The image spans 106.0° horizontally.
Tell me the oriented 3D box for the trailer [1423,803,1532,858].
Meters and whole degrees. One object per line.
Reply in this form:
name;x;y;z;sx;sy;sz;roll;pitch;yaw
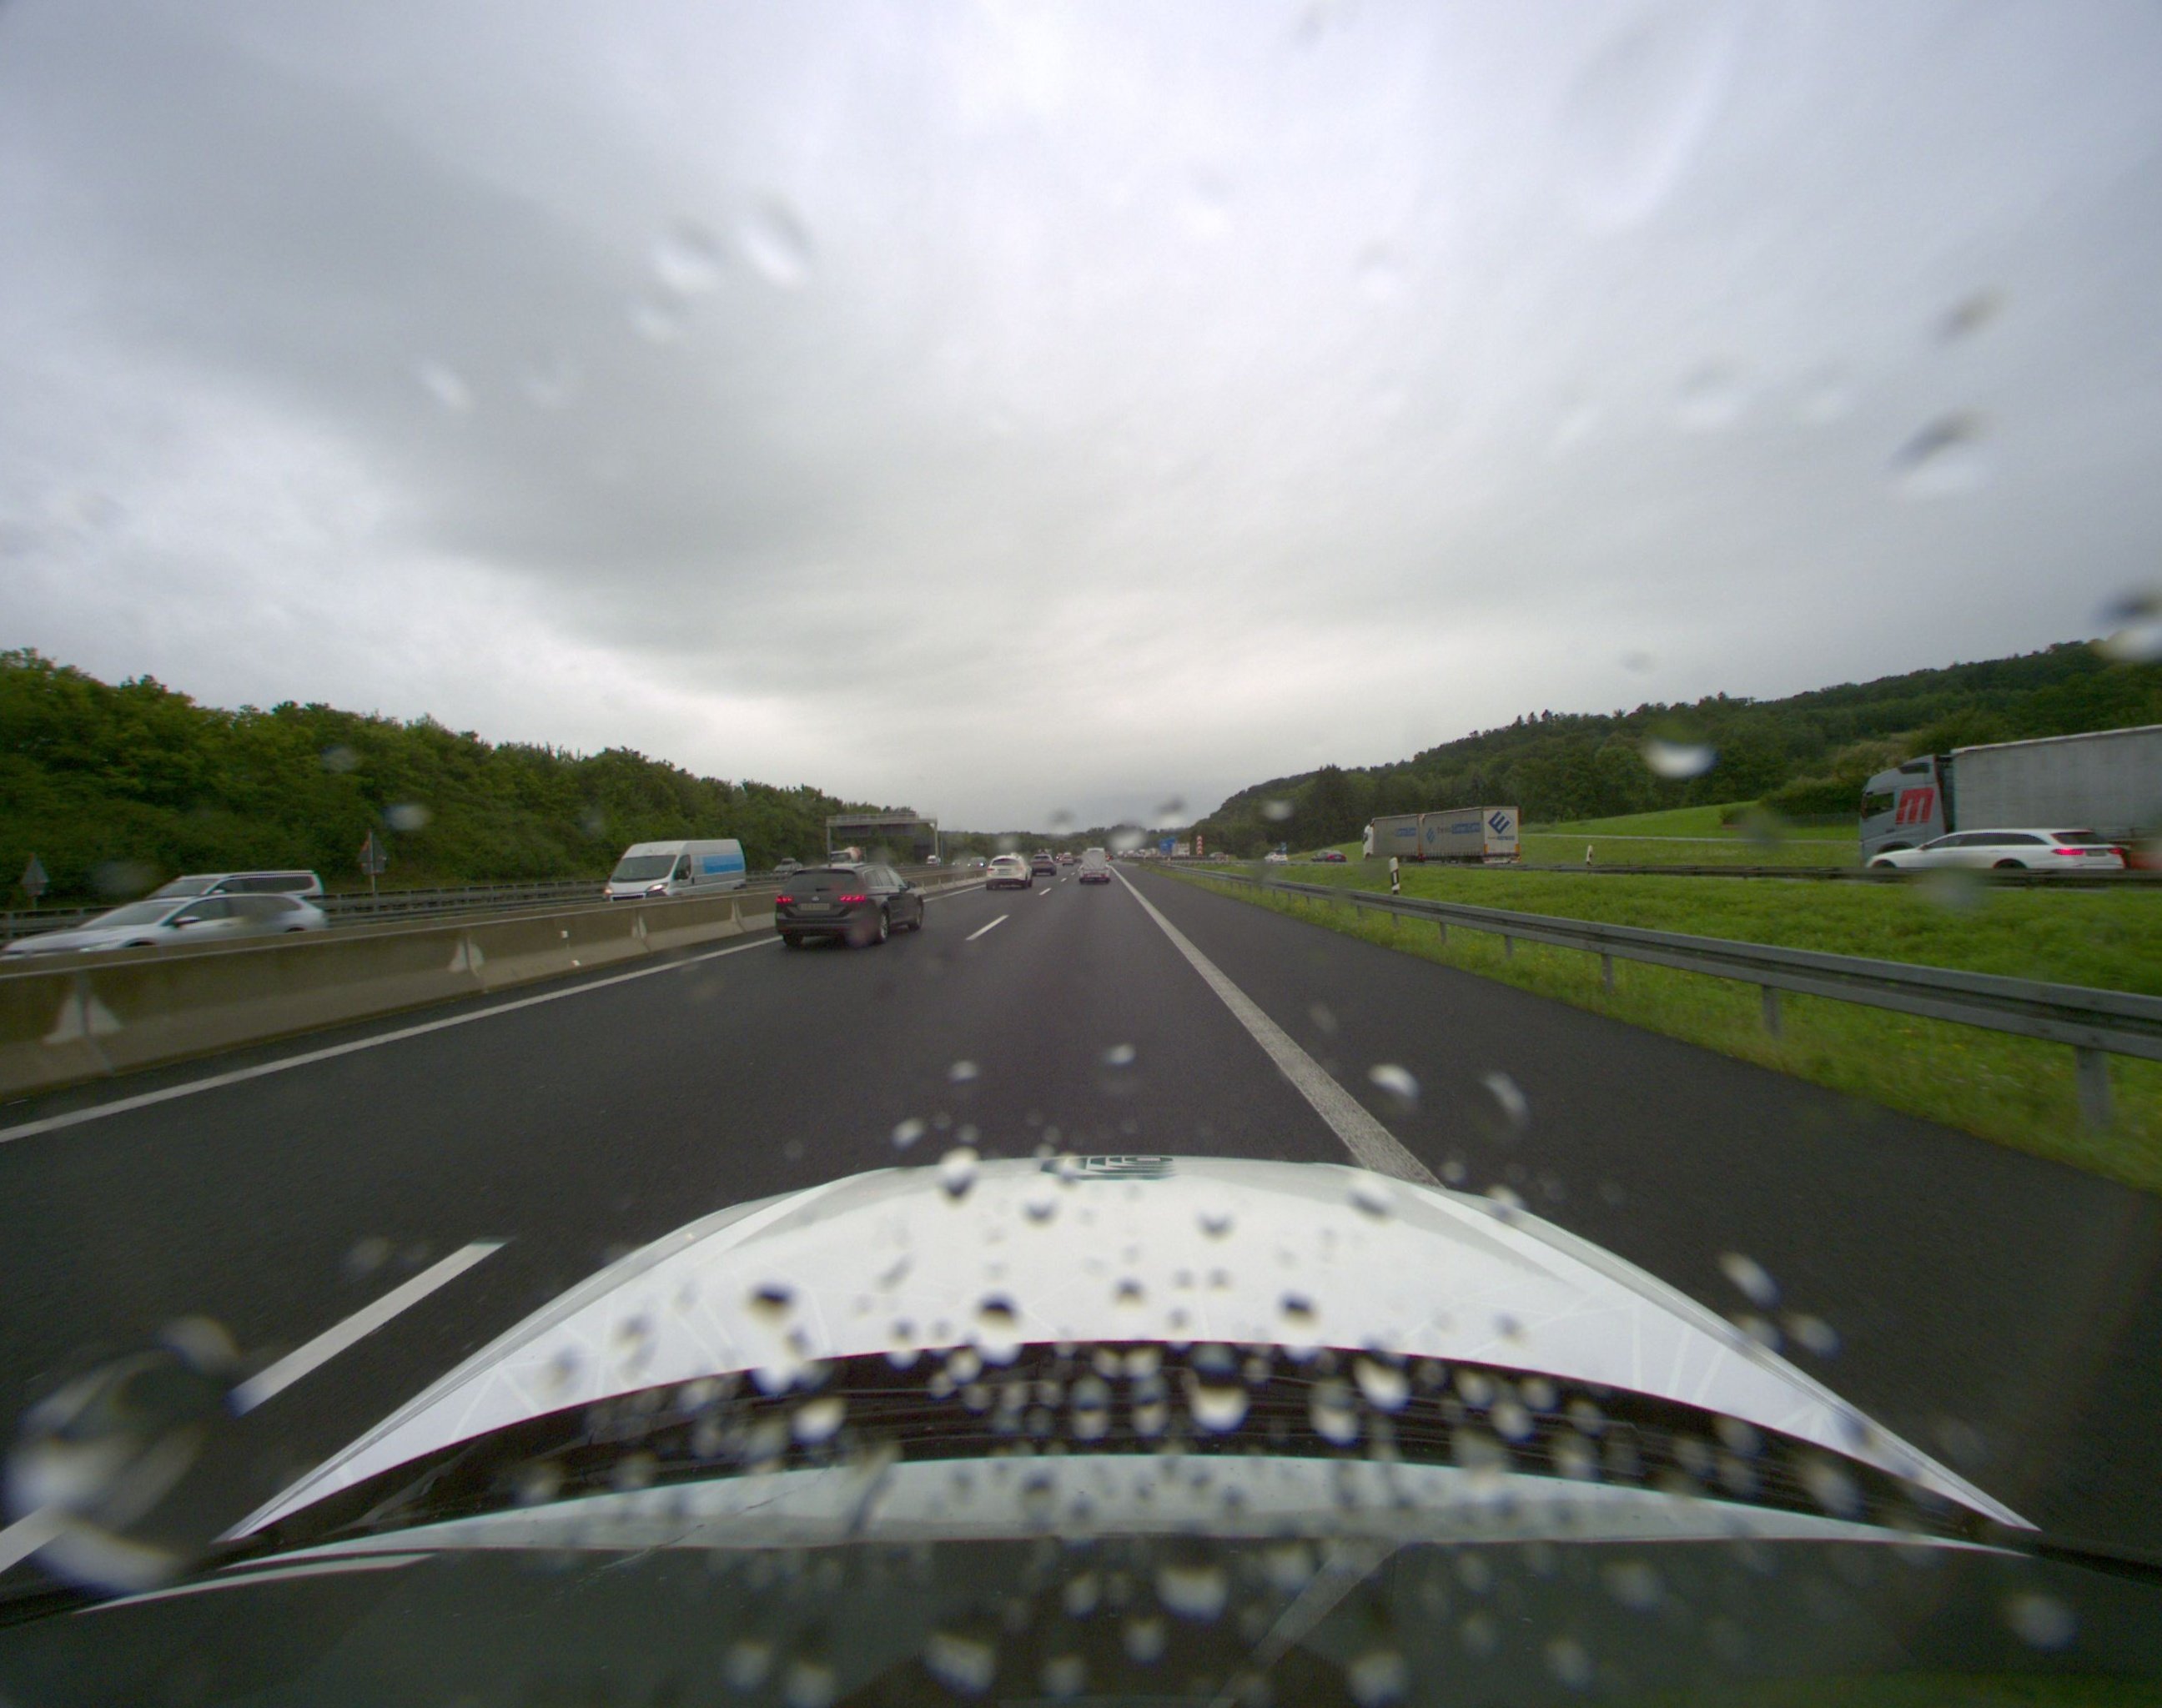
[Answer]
trailer;27.277;-1.520;56.490;3.073;3.527;8.069;0;0;-5

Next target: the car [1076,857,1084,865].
car;-0.165;1.464;173.813;1.639;1.574;4.001;0;0;2

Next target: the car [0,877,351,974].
car;-17.158;1.233;15.633;1.986;1.435;4.680;0;0;1

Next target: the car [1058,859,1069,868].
car;-3.200;1.712;150.526;1.812;1.662;4.018;-2;0;2

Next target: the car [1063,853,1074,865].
car;-2.038;0.776;132.213;1.732;1.794;4.001;-1;0;1

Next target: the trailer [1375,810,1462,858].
trailer;26.609;-1.473;64.729;2.932;3.527;8.407;0;0;-4

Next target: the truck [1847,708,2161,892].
truck;28.752;-1.384;19.547;3.814;4.540;16.856;-1;0;-5

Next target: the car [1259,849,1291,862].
car;22.886;0.175;96.199;1.984;1.377;5.067;-2;0;-7

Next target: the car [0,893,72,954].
car;-38.261;2.467;28.113;1.743;2.013;4.002;-2;0;2

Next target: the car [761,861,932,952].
car;-4.326;0.880;15.864;1.780;1.459;4.804;-1;0;2

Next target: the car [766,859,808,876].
car;-27.244;1.225;75.685;1.986;1.407;4.678;-2;0;2

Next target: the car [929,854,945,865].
car;-28.943;1.132;163.720;1.986;2.213;5.716;-2;0;1

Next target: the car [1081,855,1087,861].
car;0.770;1.086;213.256;1.639;1.574;4.001;0;0;2

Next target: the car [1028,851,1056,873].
car;-3.124;0.614;66.802;1.969;1.703;4.803;-1;0;1

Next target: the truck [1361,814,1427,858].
truck;26.279;-1.451;68.640;2.932;3.527;5.918;0;0;-4

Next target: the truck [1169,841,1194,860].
truck;20.179;-0.599;163.855;3.816;3.659;8.264;0;0;-2

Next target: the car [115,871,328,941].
car;-28.094;1.626;26.914;1.987;2.014;4.715;-1;0;0

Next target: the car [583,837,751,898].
car;-13.099;0.398;26.380;2.350;1.693;5.906;-2;0;0

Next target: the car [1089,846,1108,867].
car;2.301;0.336;111.336;2.324;2.725;6.537;-1;0;-1

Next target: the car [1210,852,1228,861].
car;18.690;0.367;110.573;1.536;1.288;3.529;0;-1;-4

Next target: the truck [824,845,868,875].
truck;-29.882;0.756;104.112;2.676;3.661;9.558;-2;0;1

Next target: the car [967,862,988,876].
car;-12.841;1.868;101.246;1.987;1.650;5.026;0;0;0

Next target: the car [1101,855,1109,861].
car;7.217;1.187;243.706;1.989;1.552;3.995;0;0;-4

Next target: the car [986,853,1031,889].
car;-3.544;0.792;40.352;2.044;1.670;4.535;-1;0;-3

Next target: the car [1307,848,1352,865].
car;21.278;0.260;69.902;1.982;1.377;5.311;-1;0;-4

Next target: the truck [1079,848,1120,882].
truck;1.035;0.606;47.598;2.234;1.839;6.584;-1;0;1

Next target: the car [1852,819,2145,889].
car;24.363;0.012;22.020;1.990;1.616;5.070;-2;0;-5

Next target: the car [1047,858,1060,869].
car;-4.228;1.466;126.108;1.812;1.662;4.018;-2;0;2
